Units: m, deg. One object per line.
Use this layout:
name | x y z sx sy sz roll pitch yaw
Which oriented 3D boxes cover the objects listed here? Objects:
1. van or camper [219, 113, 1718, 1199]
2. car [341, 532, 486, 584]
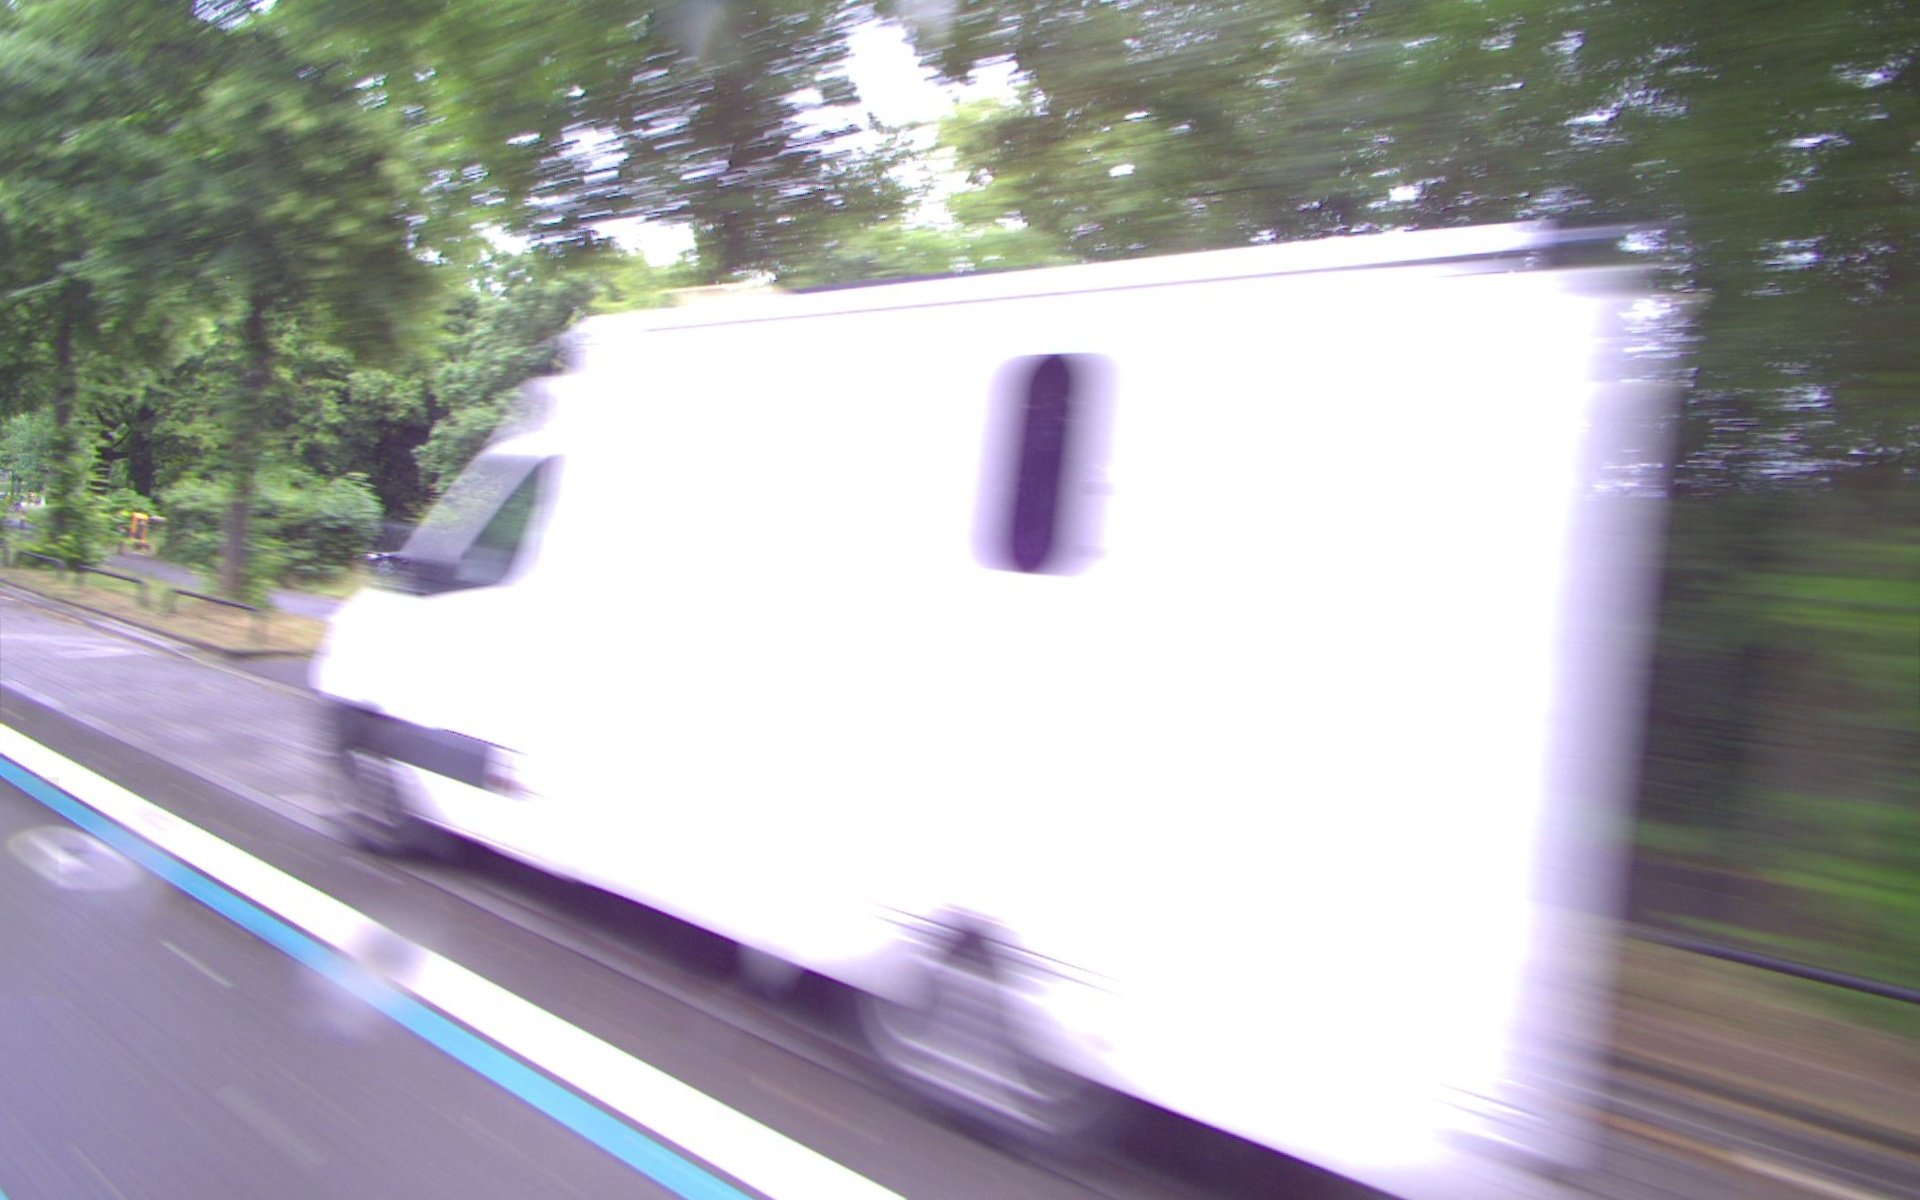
van or camper | -0.646 0.188 4.695 6.279 2.695 2.320 7 -1 34
car | -19.199 -1.463 35.451 4.121 1.338 1.868 6 0 -42
